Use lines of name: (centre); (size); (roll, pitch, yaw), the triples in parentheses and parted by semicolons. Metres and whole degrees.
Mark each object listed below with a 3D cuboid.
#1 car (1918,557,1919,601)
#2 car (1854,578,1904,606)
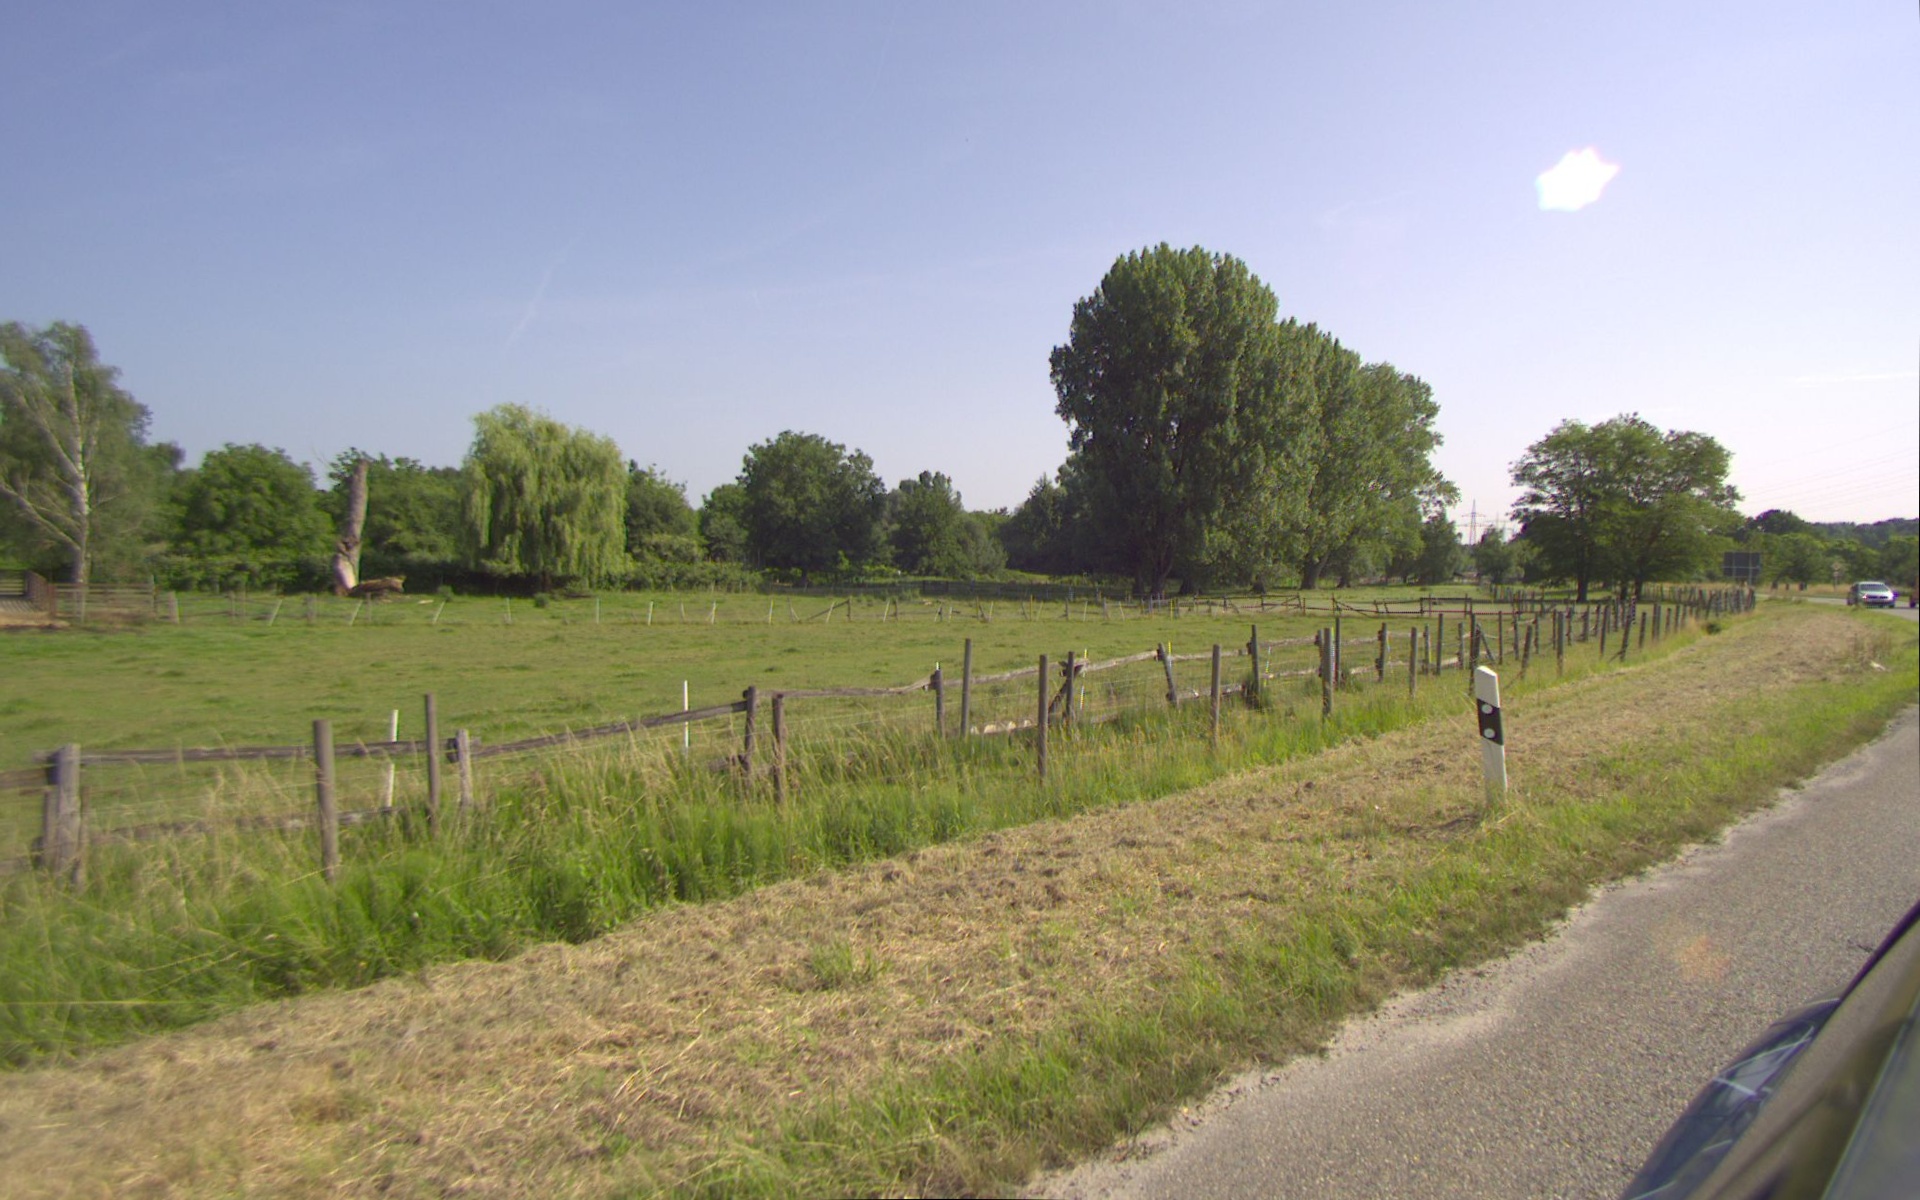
car: (59.345, -1.230, 60.460); (2.115, 2.729, 5.207); (1, 1, 33)
car: (55.536, -0.476, 61.187); (1.990, 1.600, 3.854); (-1, 0, 39)
